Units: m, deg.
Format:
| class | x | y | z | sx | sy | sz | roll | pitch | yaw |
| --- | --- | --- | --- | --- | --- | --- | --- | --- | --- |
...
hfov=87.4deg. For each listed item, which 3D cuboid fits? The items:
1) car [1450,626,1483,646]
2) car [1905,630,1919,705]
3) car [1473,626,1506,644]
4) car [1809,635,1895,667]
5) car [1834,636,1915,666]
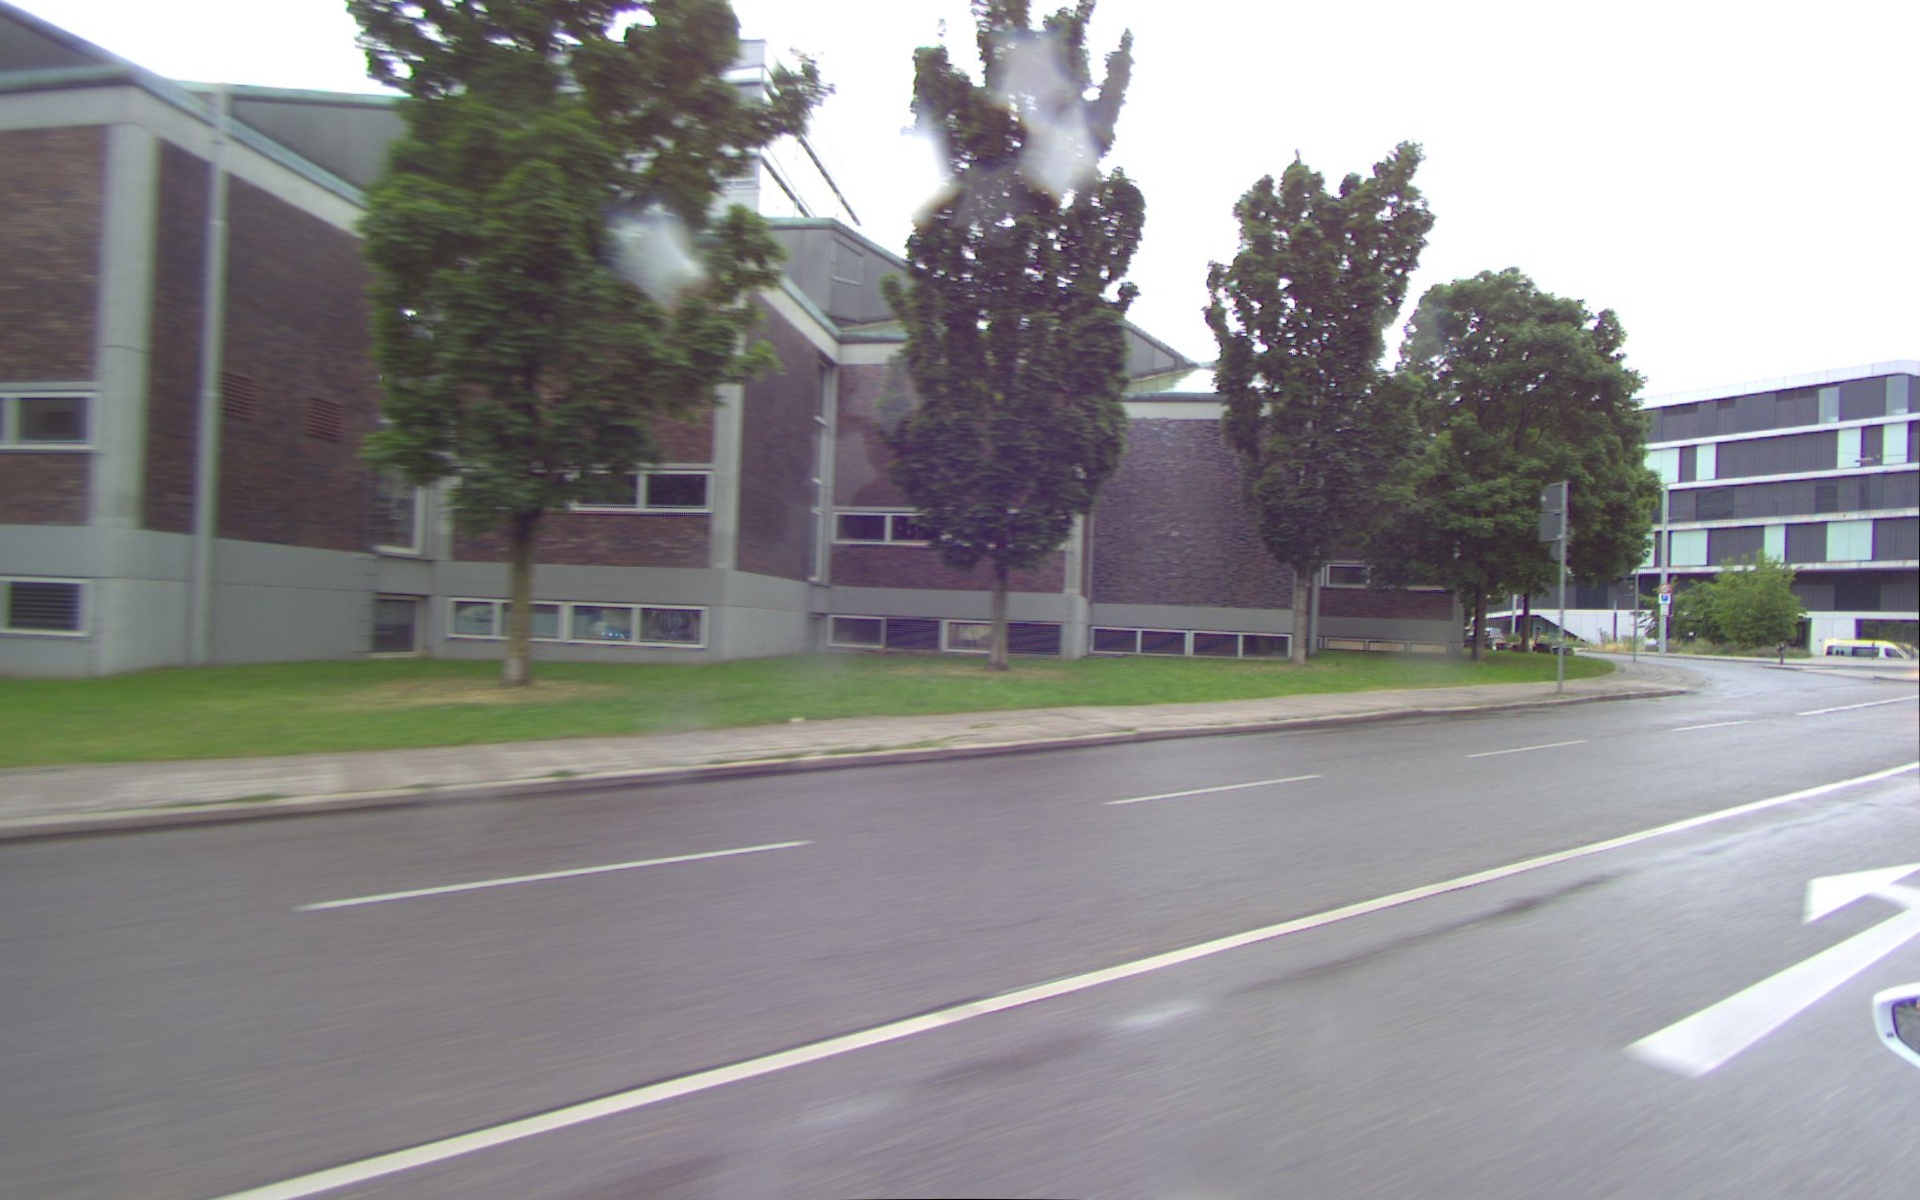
| class | x | y | z | sx | sy | sz | roll | pitch | yaw |
| --- | --- | --- | --- | --- | --- | --- | --- | --- | --- |
| car | 47.431 | 3.376 | 94.152 | 1.882 | 1.762 | 4.002 | 2 | 0 | 14 |
| car | 22.004 | 1.379 | 21.103 | 5.162 | 1.510 | 1.872 | 1 | -3 | -32 |
| car | 46.461 | 3.085 | 88.174 | 1.635 | 1.469 | 3.870 | 2 | 0 | 14 |
| car | 66.618 | 3.785 | 75.105 | 1.915 | 2.203 | 4.552 | 2 | 0 | -39 |
| car | 70.149 | 3.876 | 77.079 | 1.582 | 2.059 | 4.315 | 2 | 0 | -34 |
